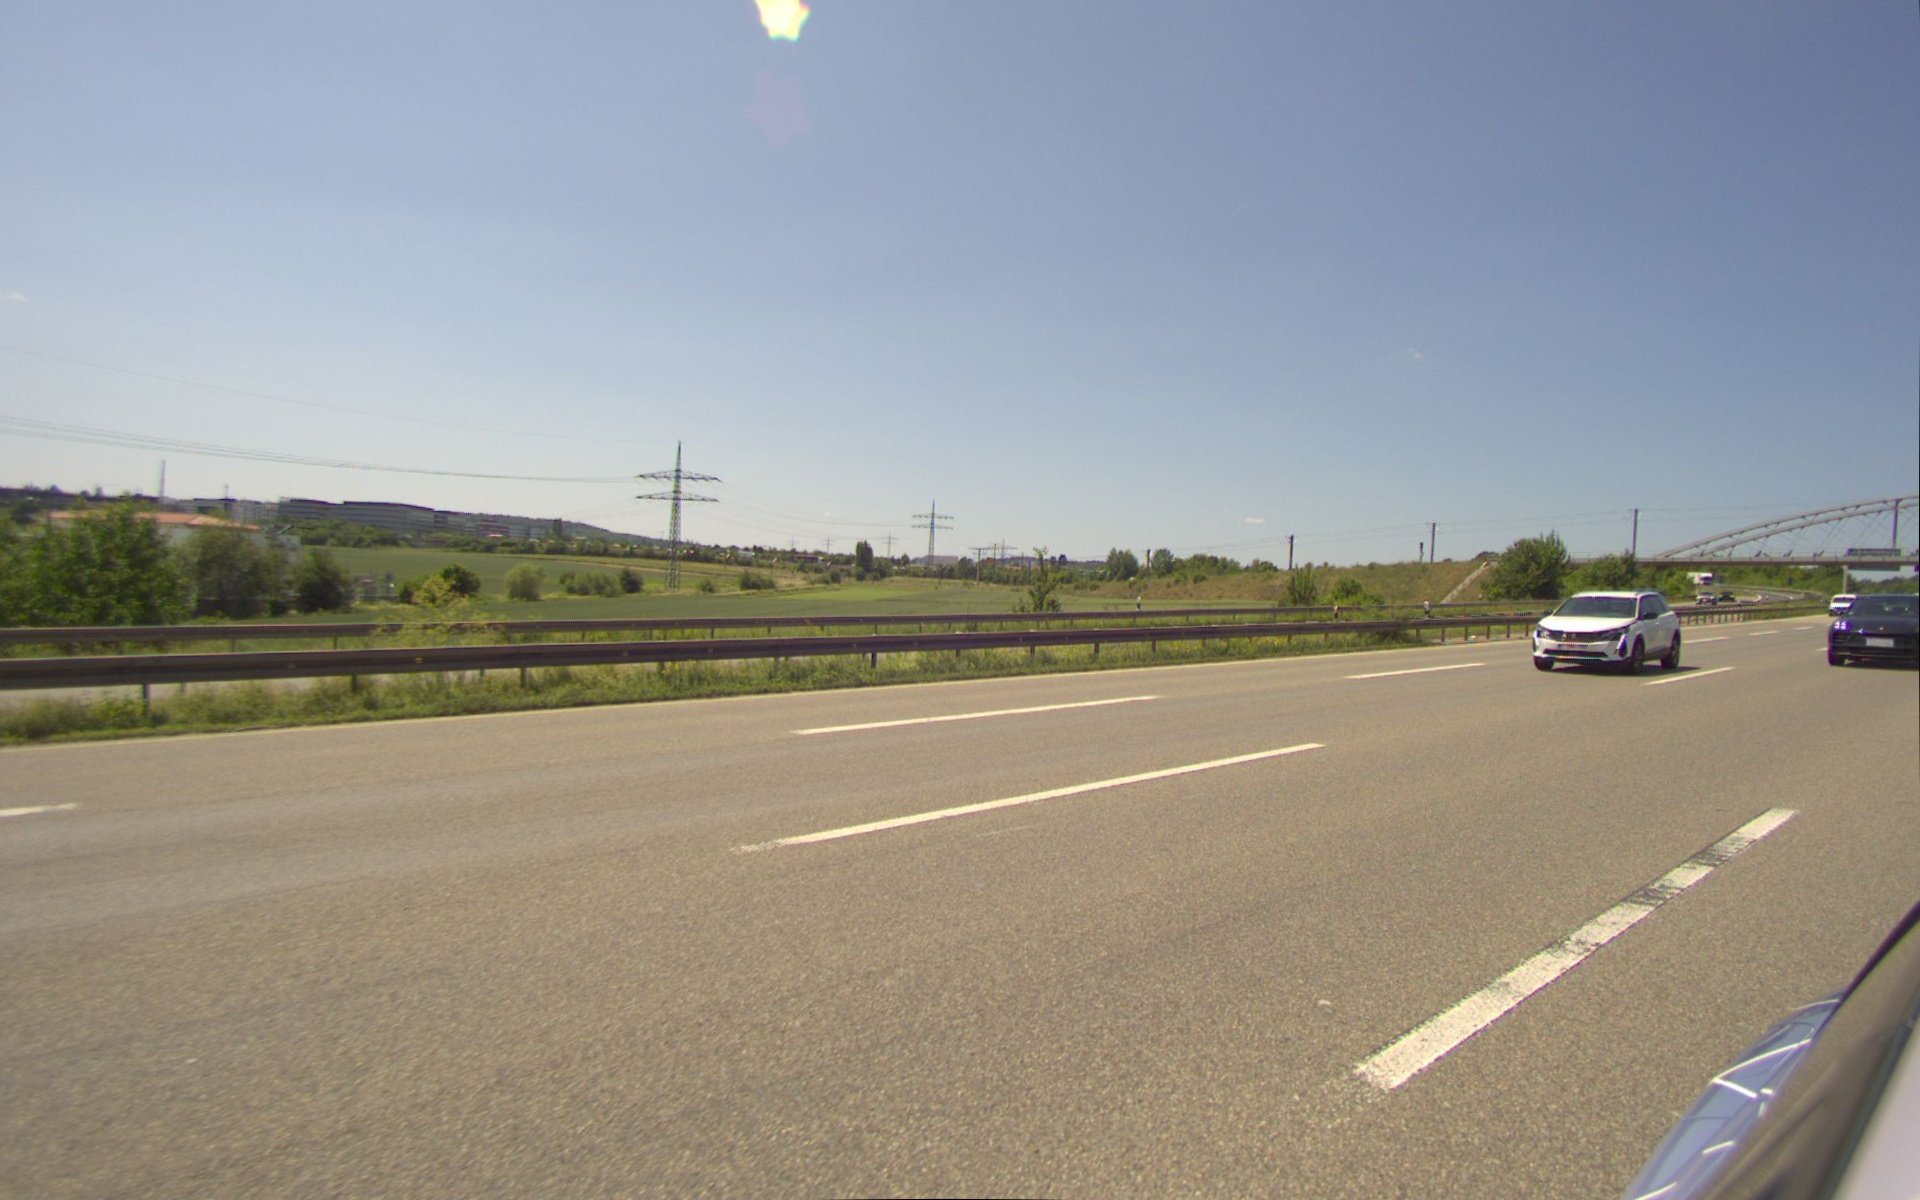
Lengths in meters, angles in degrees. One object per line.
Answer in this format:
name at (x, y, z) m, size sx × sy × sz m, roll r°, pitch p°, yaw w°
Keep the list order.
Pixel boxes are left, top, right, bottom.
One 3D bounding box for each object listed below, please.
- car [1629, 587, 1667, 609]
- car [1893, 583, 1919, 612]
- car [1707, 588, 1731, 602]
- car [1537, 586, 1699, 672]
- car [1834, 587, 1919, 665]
car at (50.672, -0.158, 74.506) m, size 1.699 × 1.594 × 4.063 m, roll 1°, pitch 1°, yaw 43°
car at (64.407, -0.197, 68.259) m, size 4.221 × 1.943 × 1.806 m, roll -1°, pitch 1°, yaw -42°
car at (91.342, -0.643, 121.766) m, size 4.058 × 1.594 × 1.701 m, roll -1°, pitch 1°, yaw -43°
car at (13.856, 0.505, 21.201) m, size 4.541 × 1.611 × 1.746 m, roll -1°, pitch 1°, yaw -42°
car at (21.309, 0.531, 22.814) m, size 4.061 × 1.615 × 1.930 m, roll -1°, pitch 1°, yaw -42°
